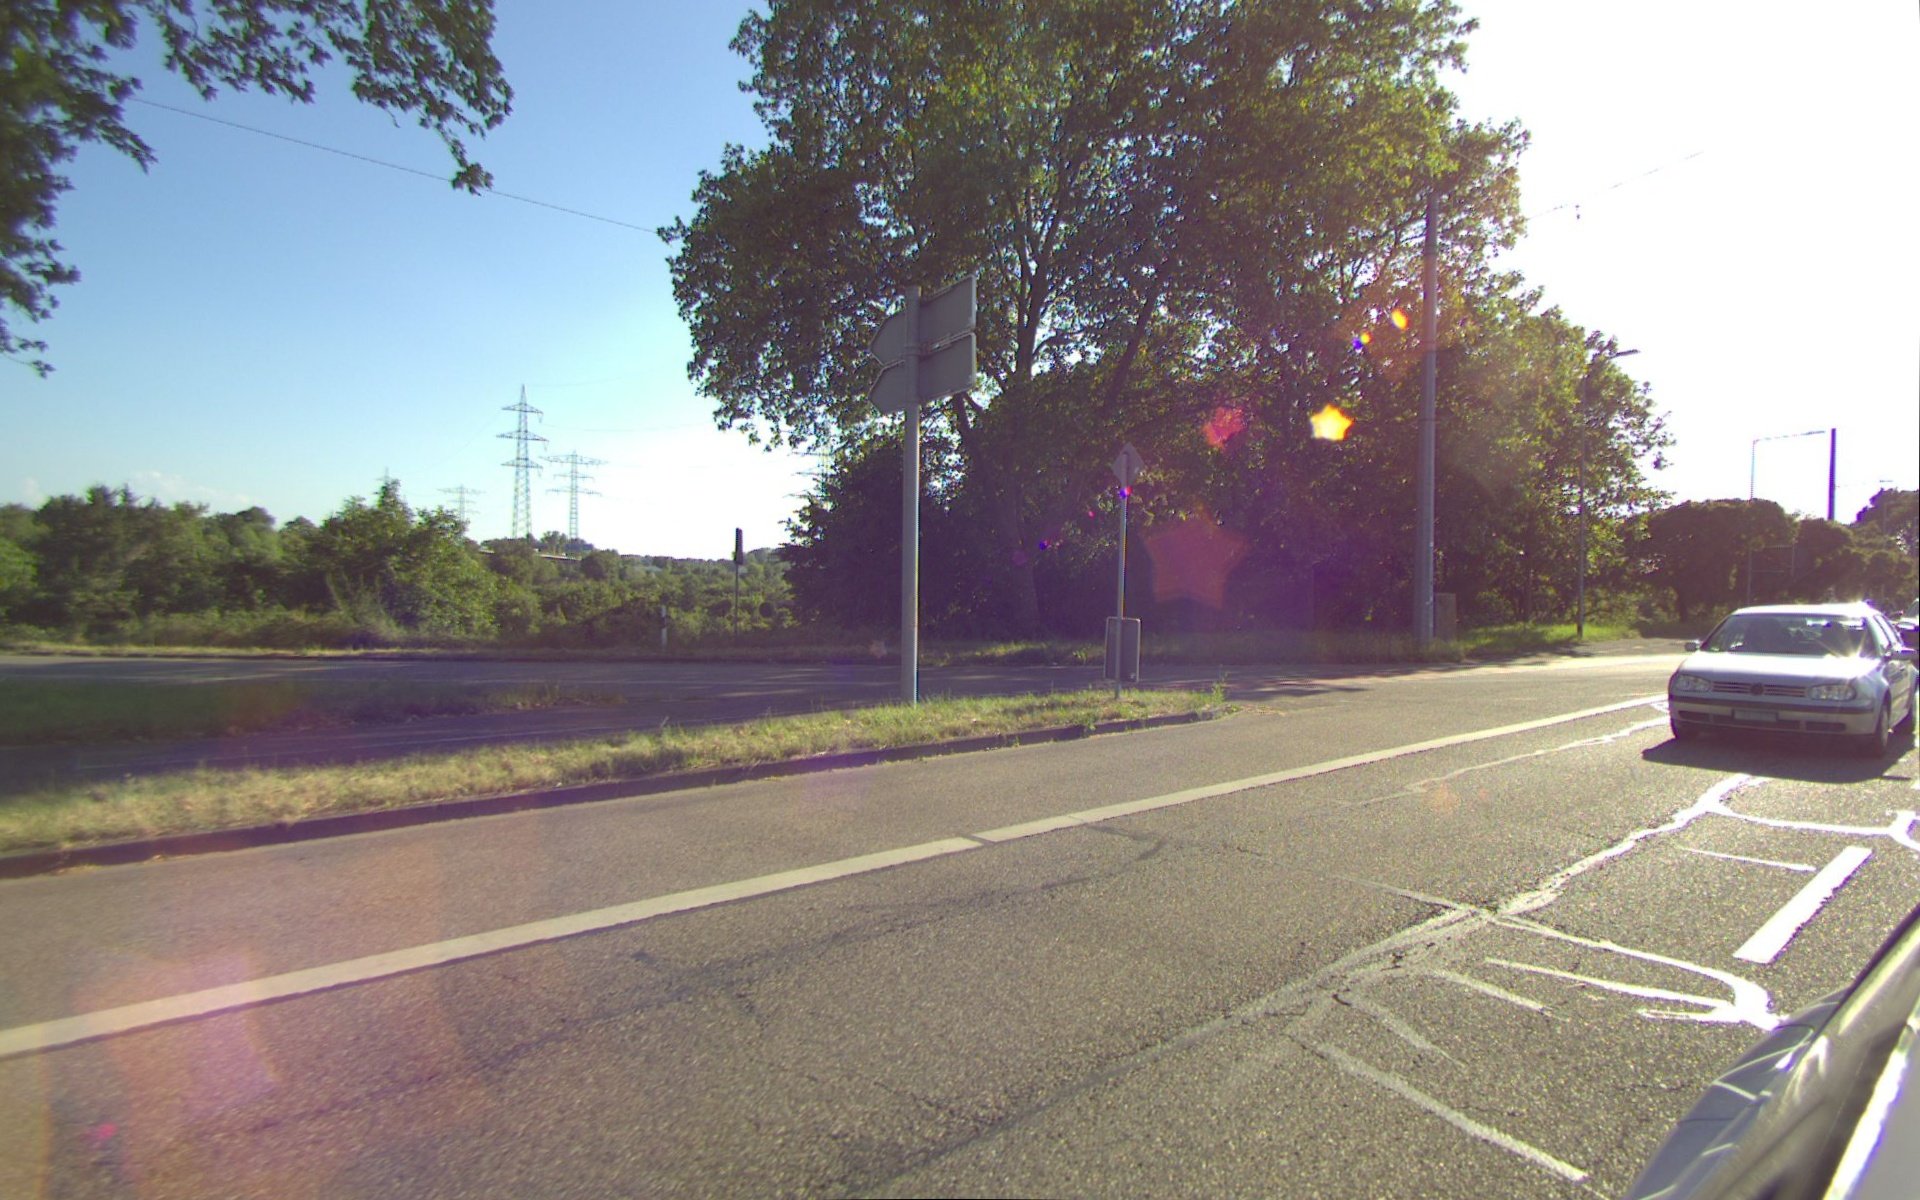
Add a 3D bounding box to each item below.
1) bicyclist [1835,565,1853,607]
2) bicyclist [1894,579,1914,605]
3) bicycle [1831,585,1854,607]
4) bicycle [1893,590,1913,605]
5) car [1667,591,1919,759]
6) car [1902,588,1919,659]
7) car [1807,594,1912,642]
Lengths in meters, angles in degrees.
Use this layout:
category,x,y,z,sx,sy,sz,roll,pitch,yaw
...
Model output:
category,x,y,z,sx,sy,sz,roll,pitch,yaw
bicyclist,43.924,-0.685,50.294,0.716,2.043,0.528,0,-1,-39
bicyclist,56.399,-0.506,60.458,1.041,1.488,0.629,0,5,-39
bicycle,43.714,-0.192,50.109,1.936,1.074,0.528,1,-1,-39
bicycle,56.334,-0.174,60.446,1.605,0.844,0.629,-1,5,-39
car,9.290,0.656,10.968,3.930,1.463,1.694,-1,1,-40
car,24.211,0.538,24.206,4.337,1.620,1.881,-1,1,-39
car,30.355,0.547,34.105,4.575,1.461,1.881,-1,1,-38
